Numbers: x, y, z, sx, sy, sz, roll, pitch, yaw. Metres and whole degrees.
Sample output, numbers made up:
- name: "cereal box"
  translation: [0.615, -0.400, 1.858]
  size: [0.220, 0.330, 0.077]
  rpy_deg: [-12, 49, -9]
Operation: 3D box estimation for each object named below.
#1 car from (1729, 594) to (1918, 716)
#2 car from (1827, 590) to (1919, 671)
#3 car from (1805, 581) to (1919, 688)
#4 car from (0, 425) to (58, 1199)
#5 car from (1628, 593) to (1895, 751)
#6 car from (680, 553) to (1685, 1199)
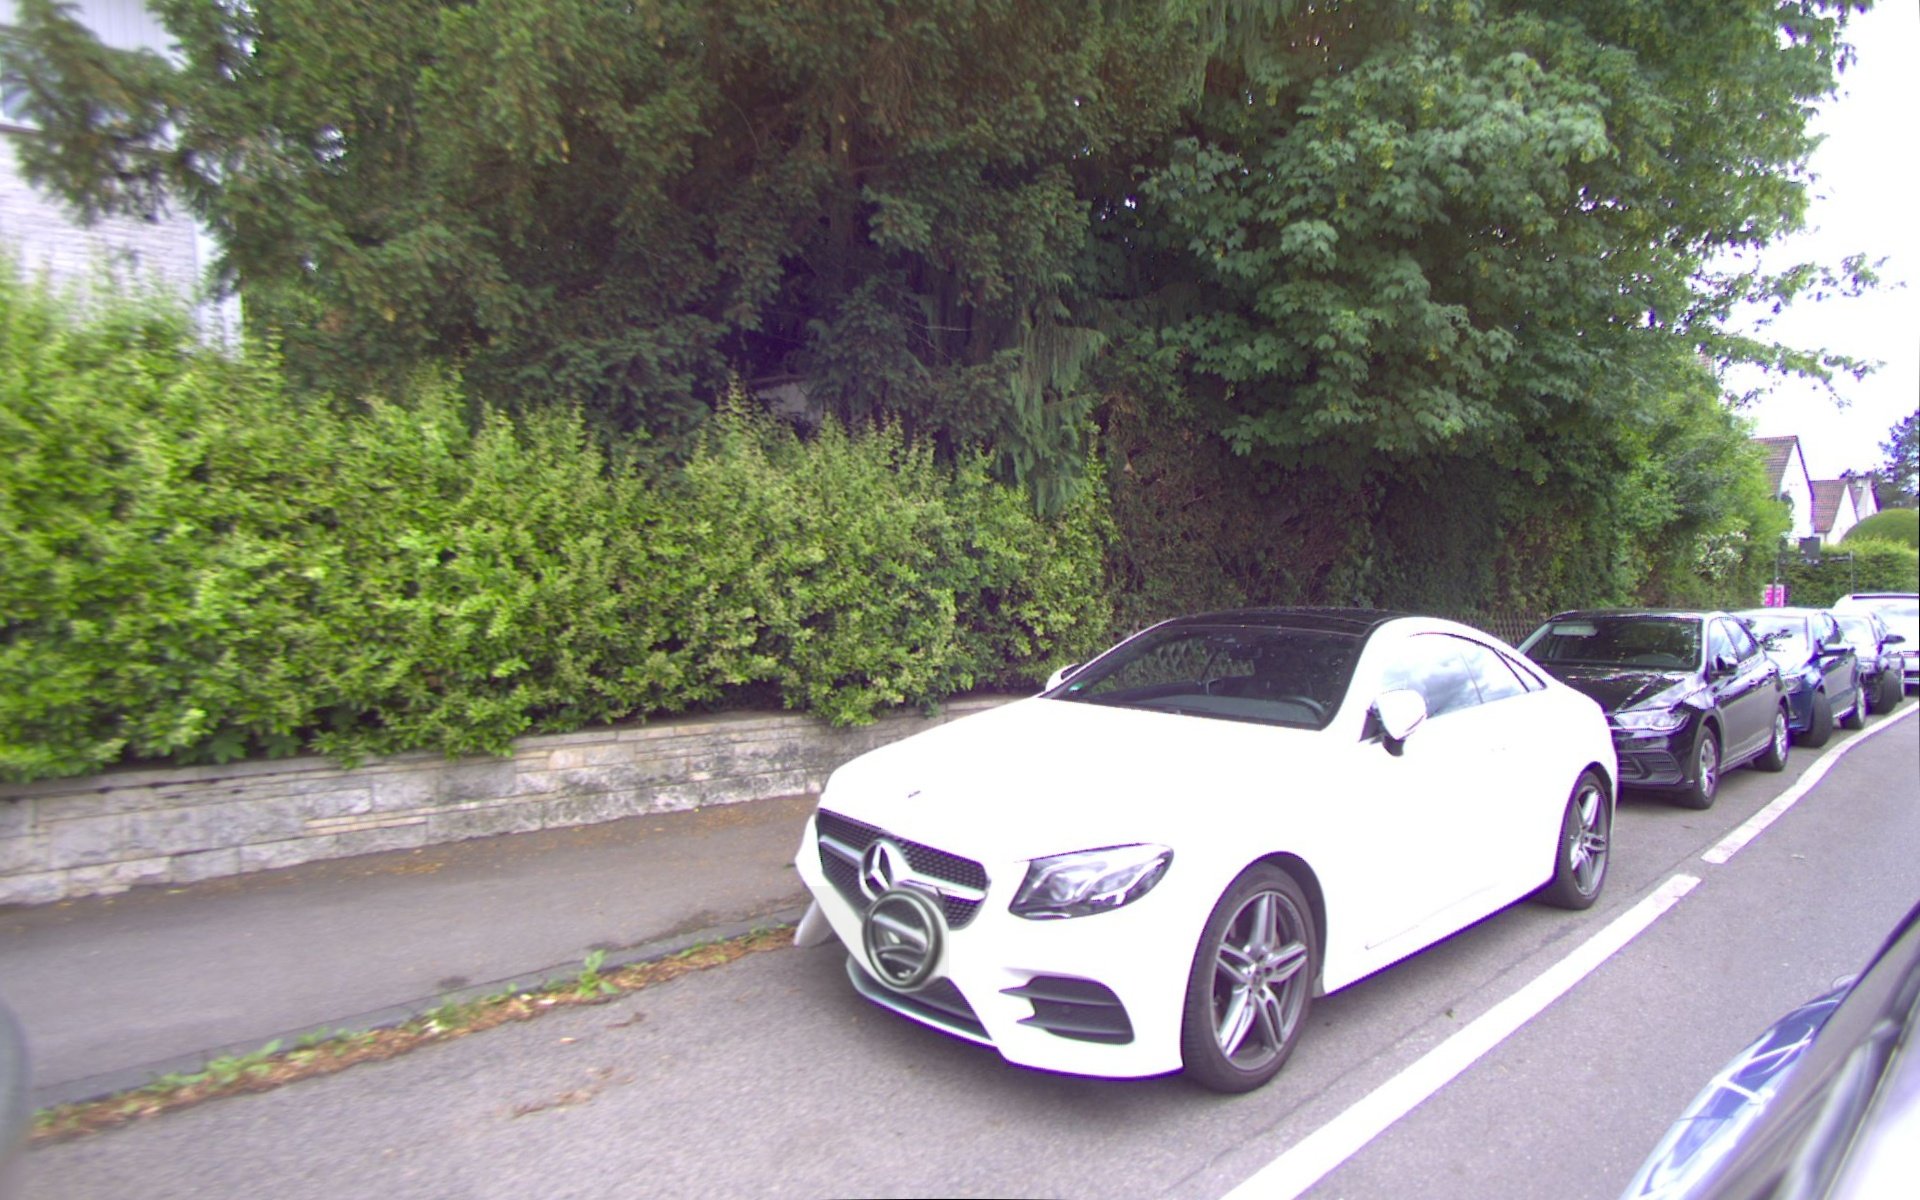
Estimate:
- name: "car"
  translation: [12.955, 0.687, 15.087]
  size: [1.811, 1.470, 4.308]
  rpy_deg: [3, 3, 44]
- name: "car"
  translation: [19.988, 0.601, 21.401]
  size: [4.380, 1.510, 1.941]
  rpy_deg: [0, 3, -42]
- name: "car"
  translation: [16.545, 0.545, 17.949]
  size: [2.002, 1.628, 4.682]
  rpy_deg: [4, 3, 44]
- name: "car"
  translation: [-3.183, 0.580, 0.610]
  size: [3.859, 1.653, 1.720]
  rpy_deg: [0, 0, -40]
- name: "car"
  translation: [9.388, 0.688, 11.736]
  size: [4.087, 1.527, 1.700]
  rpy_deg: [0, 0, -41]
- name: "car"
  translation: [1.442, 0.626, 4.732]
  size: [4.916, 1.510, 1.998]
  rpy_deg: [0, 2, -40]
